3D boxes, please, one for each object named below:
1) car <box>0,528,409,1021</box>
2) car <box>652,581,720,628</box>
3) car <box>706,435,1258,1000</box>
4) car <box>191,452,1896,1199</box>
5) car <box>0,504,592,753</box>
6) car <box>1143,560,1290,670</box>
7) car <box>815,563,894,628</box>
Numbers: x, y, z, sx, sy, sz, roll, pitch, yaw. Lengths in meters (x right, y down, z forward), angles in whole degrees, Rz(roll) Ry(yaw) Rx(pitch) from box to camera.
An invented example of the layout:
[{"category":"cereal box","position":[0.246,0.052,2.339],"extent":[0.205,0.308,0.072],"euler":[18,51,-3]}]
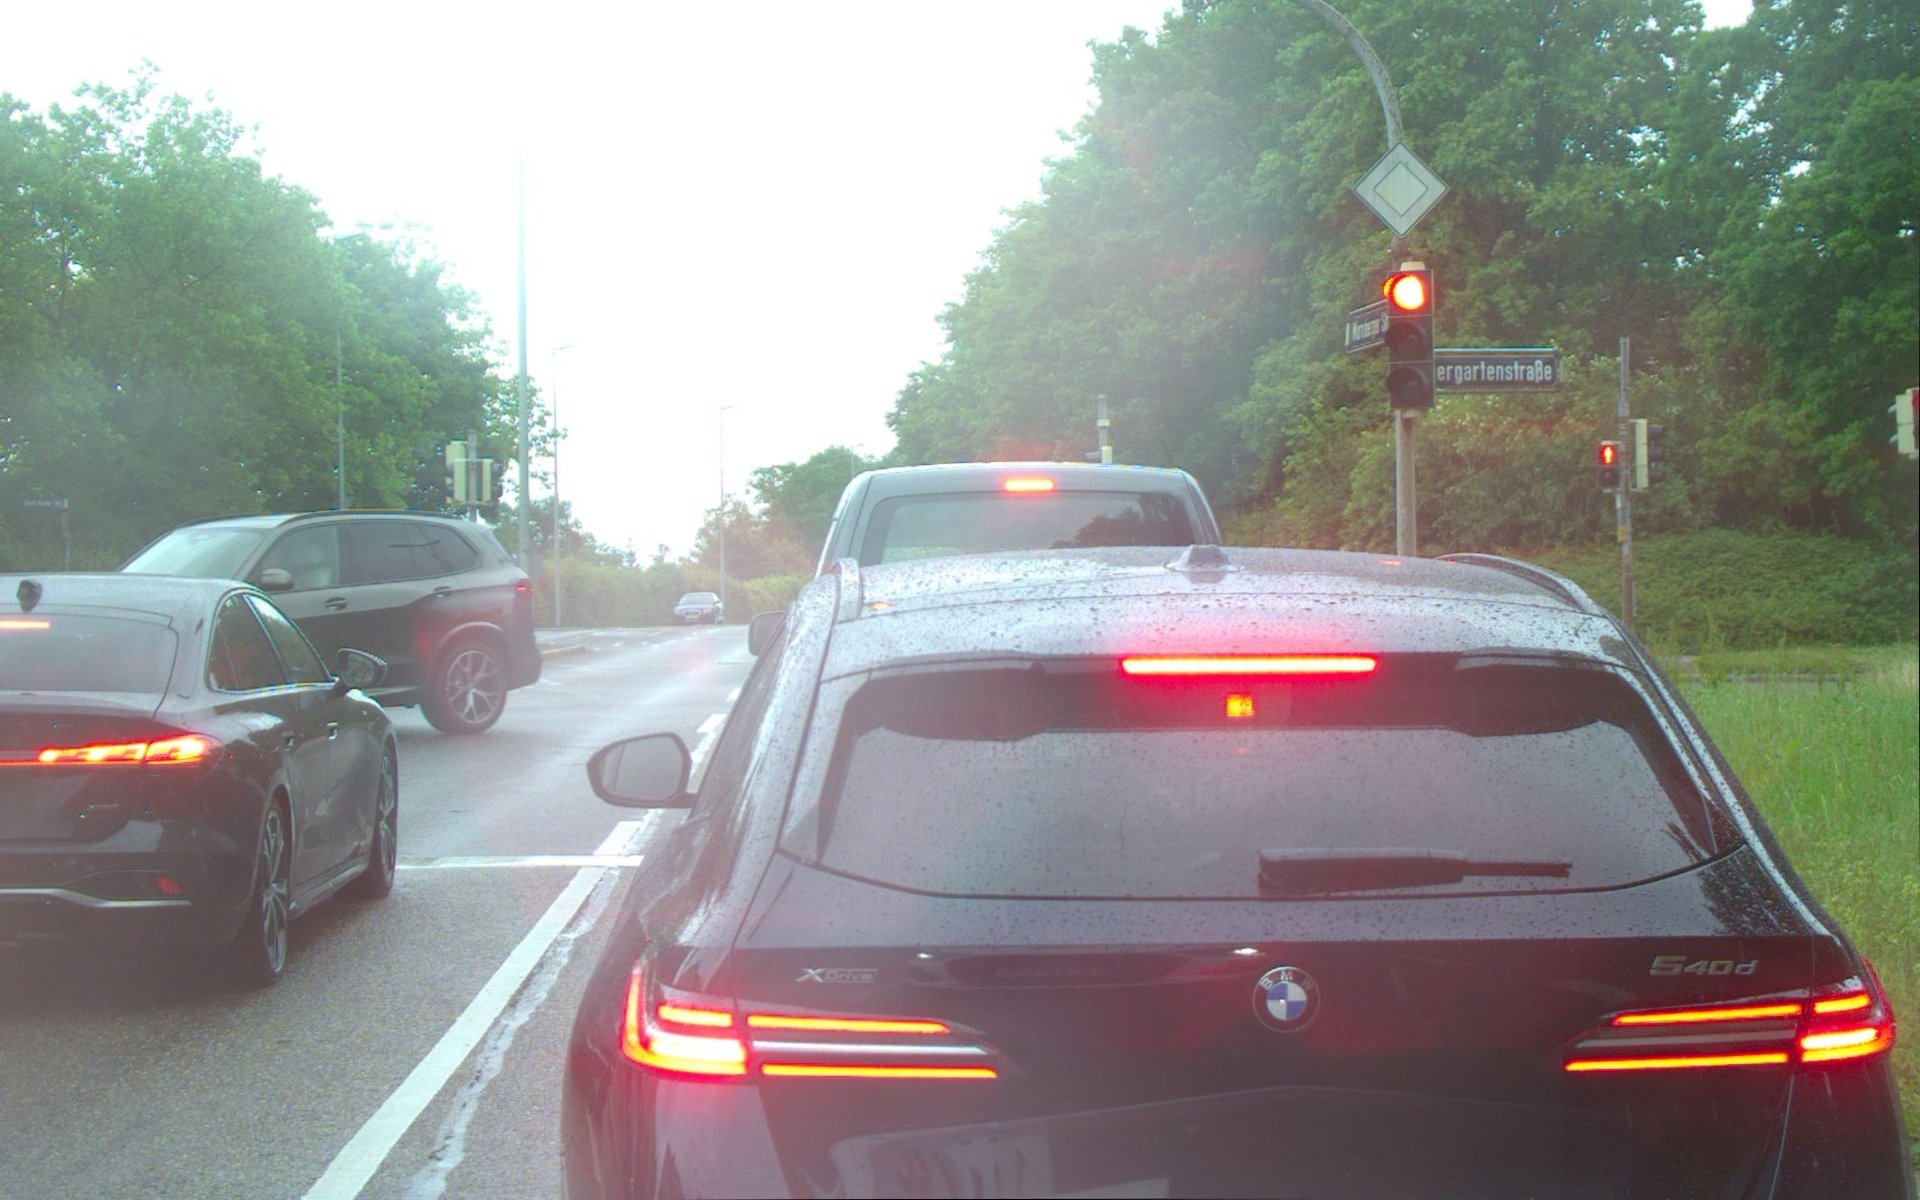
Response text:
[{"category":"car","position":[-3.367,0.563,12.991],"extent":[1.993,1.522,4.328],"euler":[-2,0,-3]},{"category":"car","position":[-11.194,0.161,140.800],"extent":[1.994,1.820,3.999],"euler":[-2,0,6]},{"category":"car","position":[0.070,0.374,13.339],"extent":[1.818,1.862,3.952],"euler":[0,0,0]},{"category":"car","position":[0.198,0.619,6.139],"extent":[1.898,1.546,4.614],"euler":[0,0,3]},{"category":"car","position":[-5.296,0.164,26.783],"extent":[1.998,1.711,4.706],"euler":[-1,1,40]},{"category":"car","position":[3.870,0.212,52.407],"extent":[1.873,1.537,3.952],"euler":[-2,0,0]},{"category":"car","position":[-2.439,-0.112,80.207],"extent":[1.697,1.422,3.514],"euler":[-2,0,0]}]
